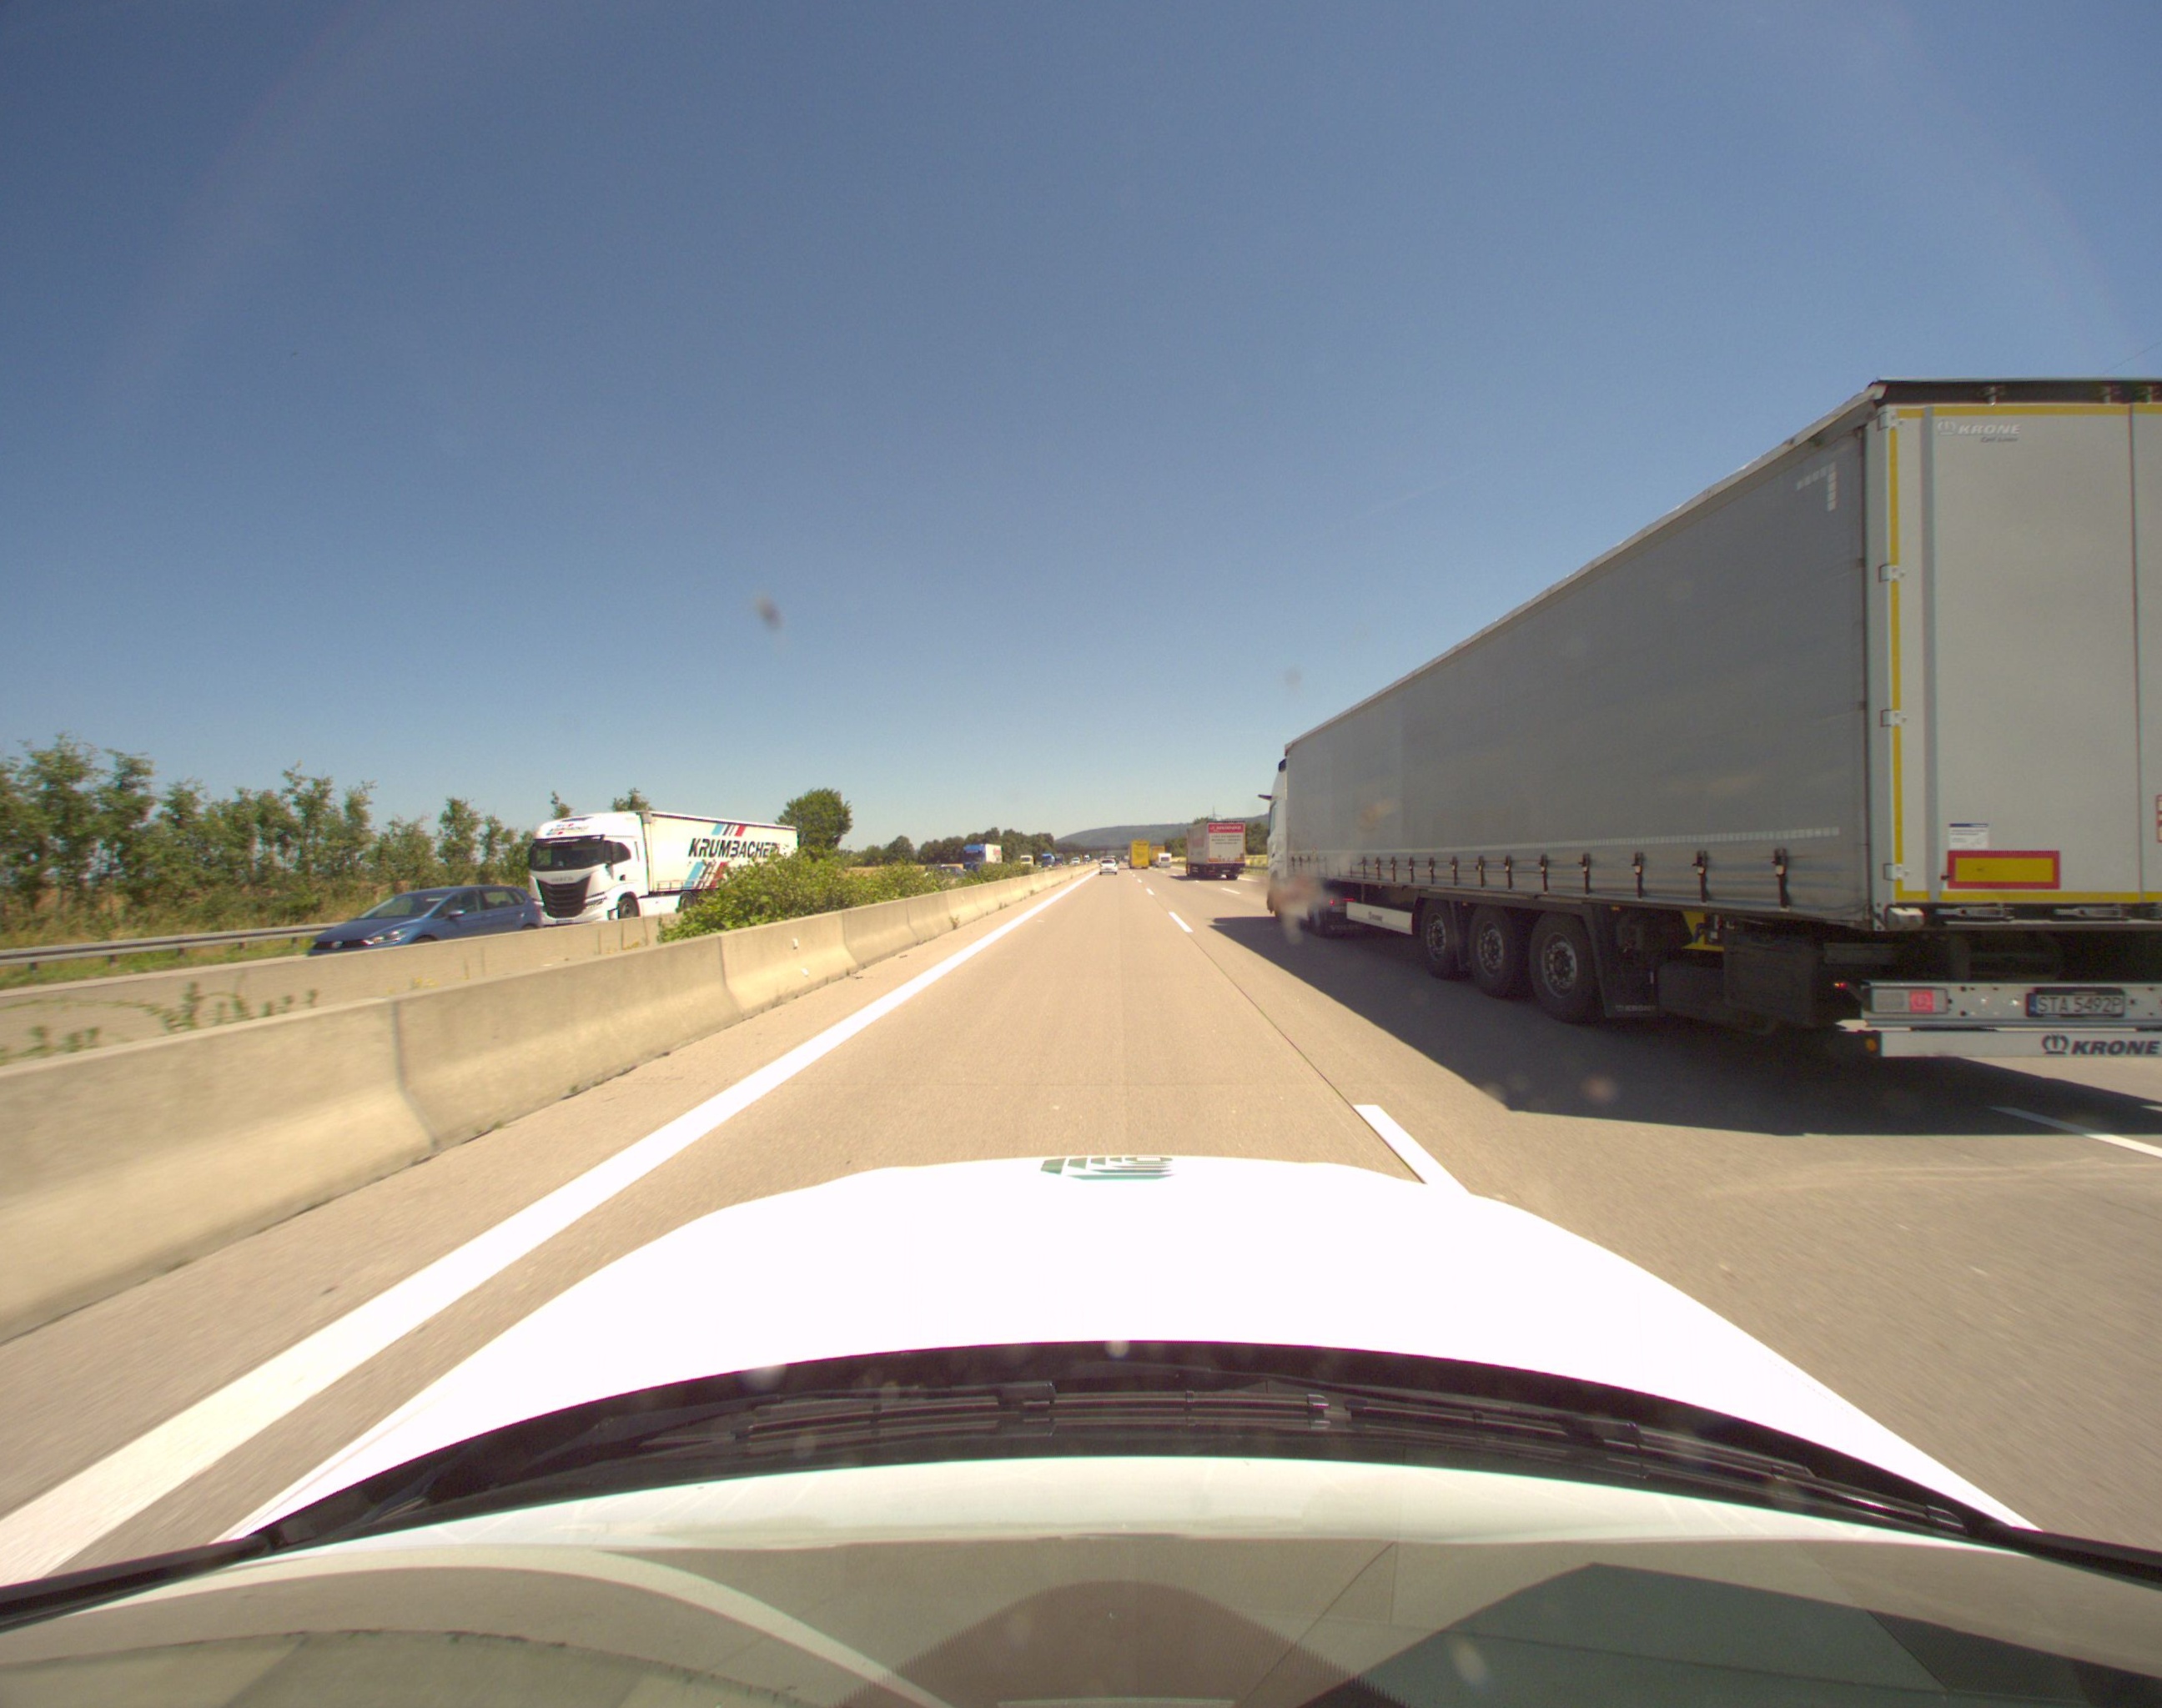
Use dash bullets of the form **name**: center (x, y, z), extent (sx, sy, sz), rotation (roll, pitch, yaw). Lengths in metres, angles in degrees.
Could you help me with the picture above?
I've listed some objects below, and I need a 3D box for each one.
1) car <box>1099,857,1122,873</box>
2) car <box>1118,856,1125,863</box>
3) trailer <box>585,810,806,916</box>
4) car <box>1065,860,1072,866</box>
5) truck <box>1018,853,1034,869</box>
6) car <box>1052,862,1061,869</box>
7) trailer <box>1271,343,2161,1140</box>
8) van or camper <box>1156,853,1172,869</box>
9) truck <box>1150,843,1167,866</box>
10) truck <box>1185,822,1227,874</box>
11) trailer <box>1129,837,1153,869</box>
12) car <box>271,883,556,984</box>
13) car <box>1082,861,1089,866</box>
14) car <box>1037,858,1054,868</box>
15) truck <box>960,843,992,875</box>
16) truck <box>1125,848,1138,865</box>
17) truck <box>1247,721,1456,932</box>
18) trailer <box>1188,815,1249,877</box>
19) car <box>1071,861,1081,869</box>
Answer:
- **car**: center (2.888, 1.032, 78.337), extent (2.098, 1.536, 4.126), rotation (0, 0, 4)
- **car**: center (11.693, 1.569, 235.241), extent (1.776, 1.881, 4.003), rotation (0, 0, 3)
- **trailer**: center (-16.184, 0.365, 36.161), extent (2.759, 3.802, 13.835), rotation (0, 0, 2)
- **car**: center (-3.565, 2.494, 228.096), extent (1.713, 1.448, 4.710), rotation (0, 0, 2)
- **truck**: center (-10.535, 1.272, 157.429), extent (2.313, 3.084, 6.981), rotation (0, 0, 2)
- **car**: center (-5.267, 2.539, 176.228), extent (1.681, 1.459, 4.490), rotation (0, 0, 2)
- **trailer**: center (5.690, -0.556, 11.258), extent (3.007, 4.061, 14.207), rotation (0, 0, 1)
- **van or camper**: center (13.332, 1.177, 131.553), extent (2.215, 2.531, 5.434), rotation (0, 0, 2)
- **truck**: center (15.230, 0.131, 160.987), extent (2.987, 4.314, 9.690), rotation (0, 0, 3)
- **truck**: center (10.217, -0.462, 67.015), extent (2.893, 4.101, 6.277), rotation (0, 0, 3)
- **trailer**: center (8.764, -0.136, 120.531), extent (3.203, 4.564, 13.466), rotation (0, 0, 3)
- **car**: center (-12.972, 1.453, 16.283), extent (1.986, 1.584, 4.371), rotation (-2, -1, 2)
- **car**: center (1.180, 2.618, 227.686), extent (1.773, 1.348, 4.453), rotation (1, 0, 1)
- **car**: center (-4.845, 1.255, 110.606), extent (1.891, 1.326, 5.072), rotation (0, 0, 2)
- **truck**: center (-12.745, 0.611, 99.209), extent (2.886, 3.864, 5.687), rotation (0, 0, 2)
- **truck**: center (11.372, 0.649, 184.485), extent (2.809, 3.761, 6.287), rotation (0, 0, 2)
- **truck**: center (5.767, -0.527, 18.446), extent (2.974, 4.062, 5.477), rotation (0, 0, 0)
- **trailer**: center (9.944, -0.487, 60.398), extent (2.862, 4.101, 13.520), rotation (0, 0, 2)
- **car**: center (-1.149, 2.624, 193.458), extent (2.130, 1.679, 5.648), rotation (-2, 0, 2)
